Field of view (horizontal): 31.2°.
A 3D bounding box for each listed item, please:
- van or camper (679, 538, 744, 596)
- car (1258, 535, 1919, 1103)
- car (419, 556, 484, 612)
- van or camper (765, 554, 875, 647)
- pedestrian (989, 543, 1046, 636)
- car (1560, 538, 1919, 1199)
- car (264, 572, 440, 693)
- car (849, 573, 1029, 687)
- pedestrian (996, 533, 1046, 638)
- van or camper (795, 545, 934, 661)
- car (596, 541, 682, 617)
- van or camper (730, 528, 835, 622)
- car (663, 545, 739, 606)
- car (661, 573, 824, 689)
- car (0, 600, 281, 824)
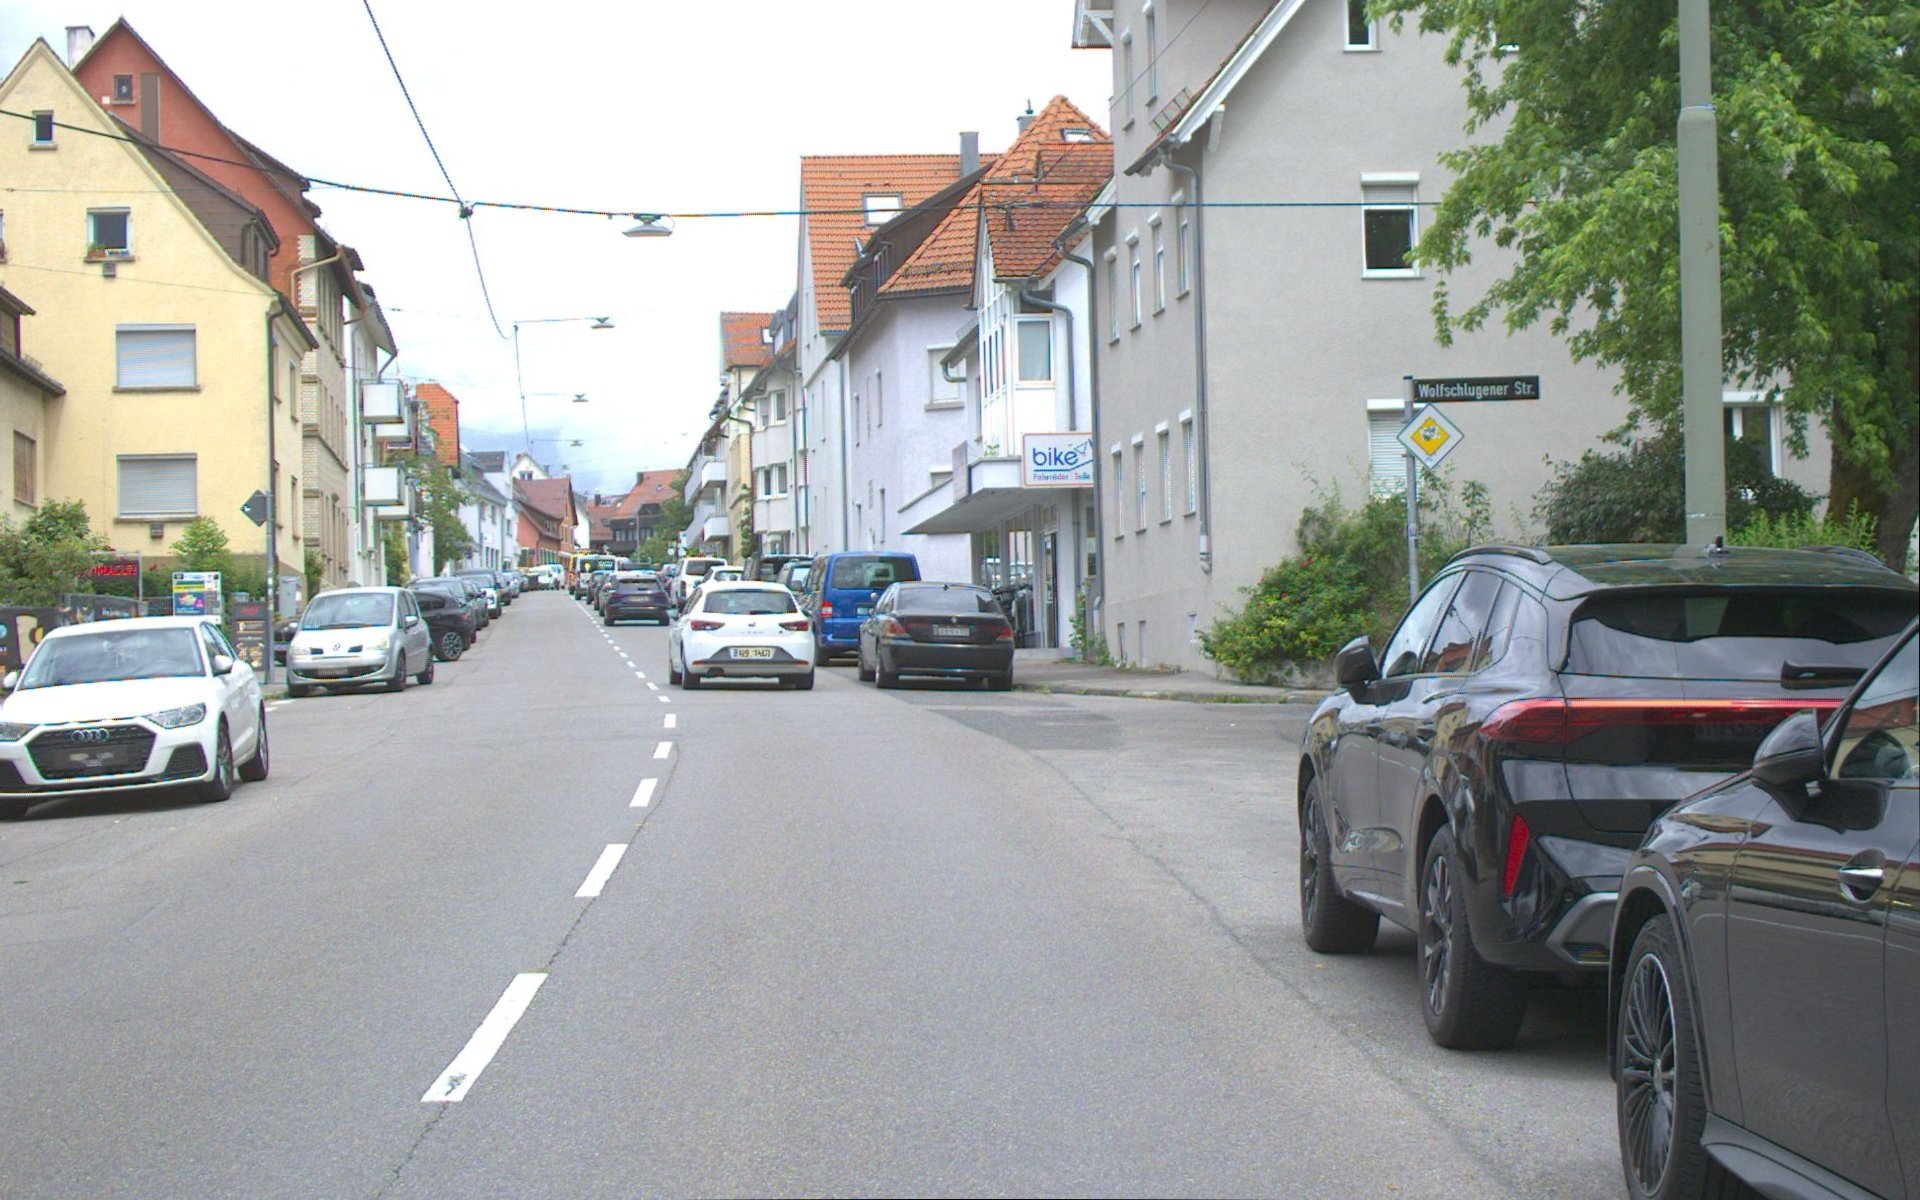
[{"bbox_3d":[-8.964,-1.203,123.697,1.940,2.047,4.564,0,1,-9],"label":"van or camper"},{"bbox_3d":[2.246,0.612,12.070,1.810,1.610,4.540,1,0,-2],"label":"car"},{"bbox_3d":[-14.799,-0.473,100.199,1.642,1.468,4.180,-4,2,-7],"label":"car"},{"bbox_3d":[-2.973,-0.016,72.108,1.870,1.822,4.681,1,1,-7],"label":"van or camper"},{"bbox_3d":[1.090,-0.199,64.740,0.871,1.719,0.618,0,1,28],"label":"pedestrian"},{"bbox_3d":[2.578,0.706,6.249,1.993,1.610,4.540,1,0,-2],"label":"car"},{"bbox_3d":[-9.128,0.454,51.900,1.833,1.572,4.031,-4,1,0],"label":"car"},{"bbox_3d":[-0.362,0.388,48.828,1.993,1.512,4.893,0,1,-7],"label":"car"},{"bbox_3d":[1.180,-0.285,66.323,0.760,2.007,0.618,0,1,28],"label":"pedestrian"},{"bbox_3d":[-1.708,0.013,60.032,1.926,1.919,4.832,0,1,-8],"label":"van or camper"},{"bbox_3d":[-8.711,-0.573,92.978,2.152,2.007,4.001,0,1,-8],"label":"car"},{"bbox_3d":[-4.161,-0.617,79.728,1.993,2.058,5.946,1,1,-7],"label":"van or camper"},{"bbox_3d":[-7.681,-0.749,101.564,1.940,1.687,4.001,1,1,-8],"label":"car"},{"bbox_3d":[-2.984,0.384,46.546,1.940,1.434,4.001,0,1,-7],"label":"car"},{"bbox_3d":[-6.437,0.812,26.709,1.726,1.453,3.899,-5,1,-4],"label":"car"}]
